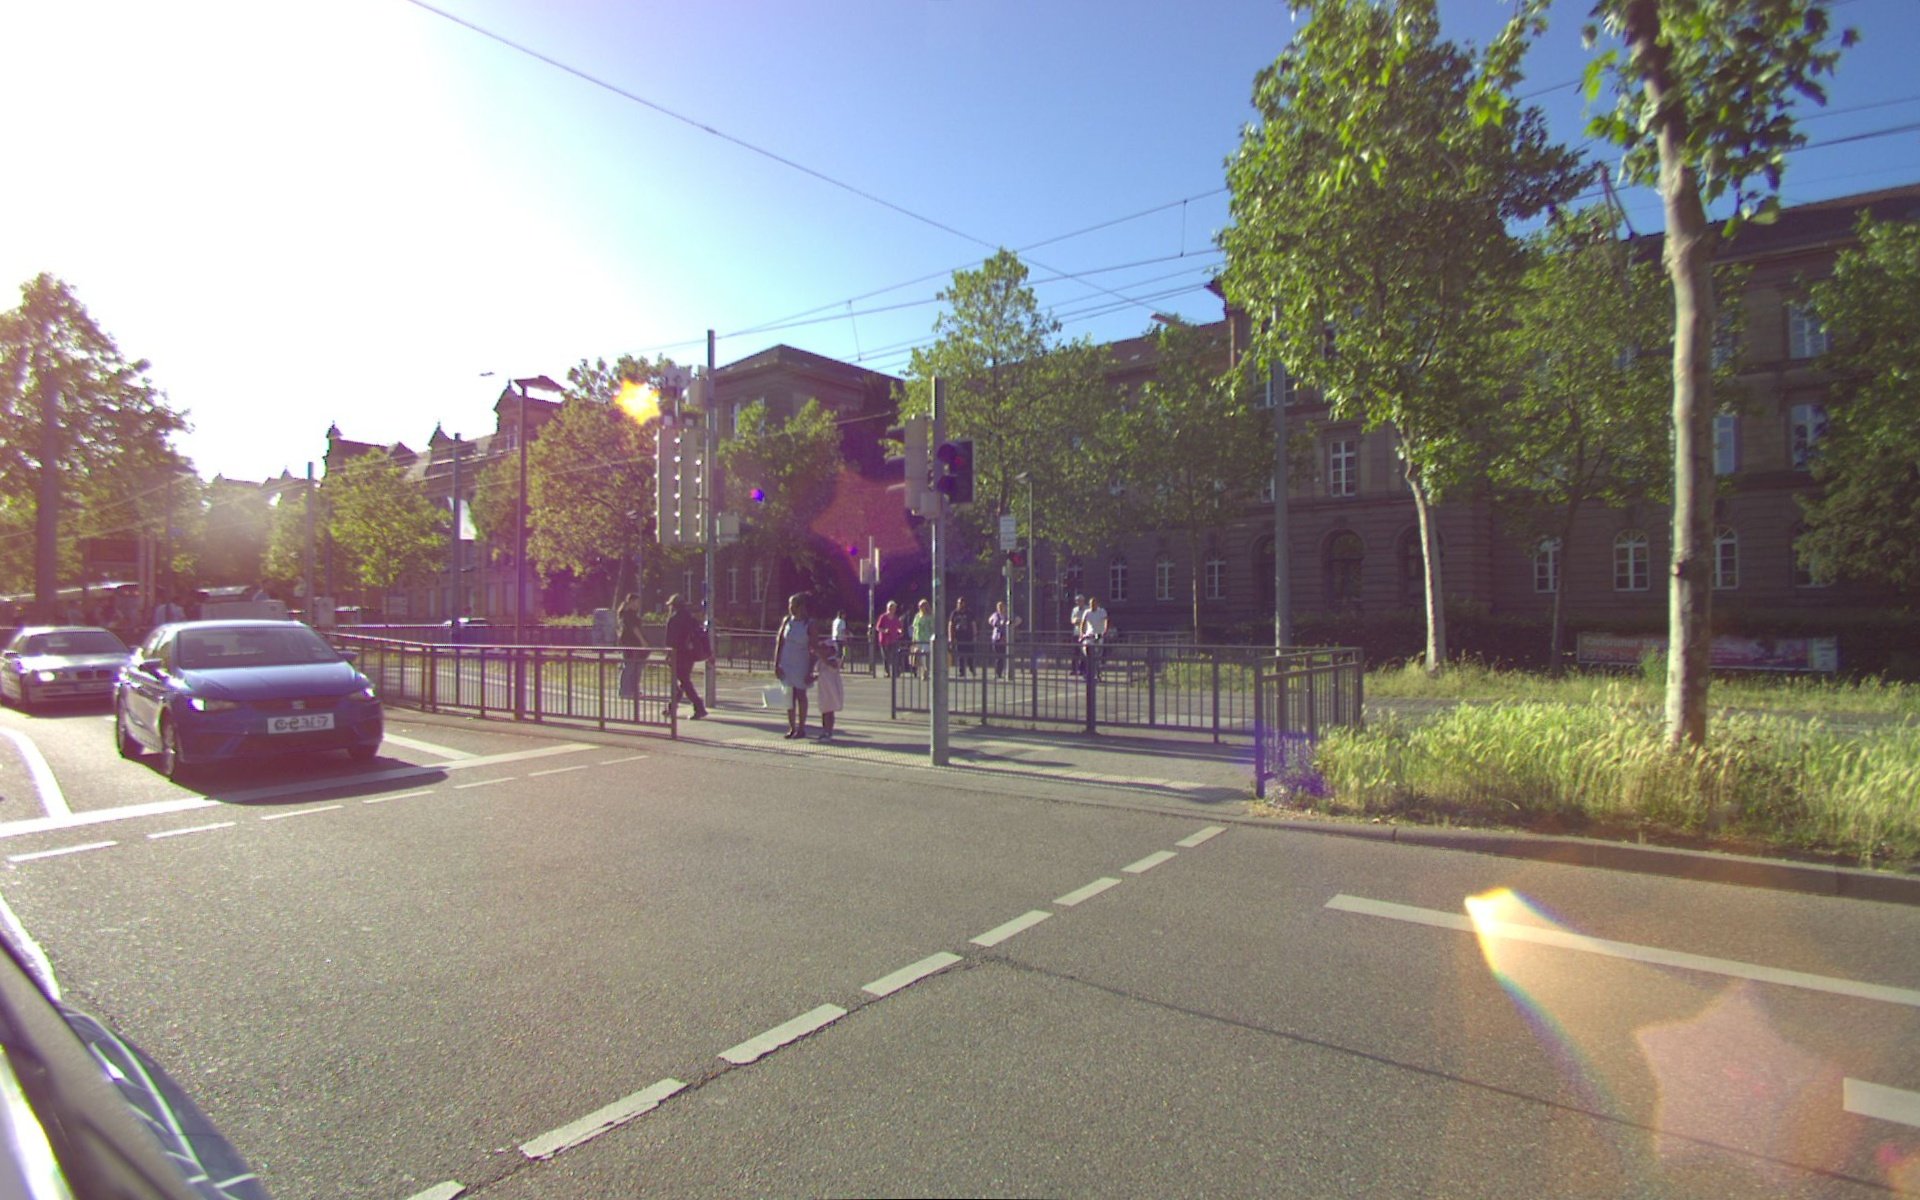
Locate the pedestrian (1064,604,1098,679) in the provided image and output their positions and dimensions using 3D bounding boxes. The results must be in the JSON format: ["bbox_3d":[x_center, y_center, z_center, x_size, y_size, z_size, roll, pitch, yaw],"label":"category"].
[{"bbox_3d":[2.688,0.915,22.519,0.691,1.633,0.593,-1,0,5],"label":"pedestrian"}]

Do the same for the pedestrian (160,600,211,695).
[{"bbox_3d":[-16.933,1.022,22.118,0.786,2.029,0.702,-1,0,39],"label":"pedestrian"}]

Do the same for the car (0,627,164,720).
[{"bbox_3d":[-16.131,1.235,18.320,3.994,1.439,1.777,-1,0,38],"label":"car"}]

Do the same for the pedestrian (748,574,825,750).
[{"bbox_3d":[-1.858,0.637,10.873,0.502,1.820,0.641,-1,0,28],"label":"pedestrian"}]

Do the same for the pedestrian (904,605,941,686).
[{"bbox_3d":[-0.797,0.959,21.526,0.691,1.689,0.593,-1,0,5],"label":"pedestrian"}]

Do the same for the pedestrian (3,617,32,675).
[{"bbox_3d":[-35.350,1.697,37.948,0.787,2.131,0.705,-1,0,42],"label":"pedestrian"}]

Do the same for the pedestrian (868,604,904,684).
[{"bbox_3d":[-1.650,0.972,22.706,0.691,1.758,0.593,-1,0,5],"label":"pedestrian"}]

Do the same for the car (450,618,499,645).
[{"bbox_3d":[-23.393,1.499,48.779,2.455,1.206,1.168,-1,0,38],"label":"car"}]

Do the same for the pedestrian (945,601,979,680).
[{"bbox_3d":[0.060,0.901,22.918,0.691,1.749,0.593,-1,0,5],"label":"pedestrian"}]

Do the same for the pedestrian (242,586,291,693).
[{"bbox_3d":[-14.670,0.813,21.425,0.774,2.204,0.802,-1,0,-32],"label":"pedestrian"}]

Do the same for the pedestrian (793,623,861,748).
[{"bbox_3d":[-1.391,0.877,10.604,0.423,1.242,0.588,-1,0,27],"label":"pedestrian"}]

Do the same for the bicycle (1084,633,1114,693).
[{"bbox_3d":[2.731,1.223,19.984,0.538,1.049,1.661,0,1,6],"label":"bicycle"}]

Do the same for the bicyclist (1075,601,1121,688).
[{"bbox_3d":[2.718,0.859,20.035,0.825,1.656,0.967,-1,0,5],"label":"bicyclist"}]

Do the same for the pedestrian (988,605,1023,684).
[{"bbox_3d":[0.968,0.934,21.670,0.690,1.656,0.594,-1,0,2],"label":"pedestrian"}]

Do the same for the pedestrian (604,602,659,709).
[{"bbox_3d":[-5.287,0.877,16.286,0.730,1.674,0.537,-1,0,42],"label":"pedestrian"}]

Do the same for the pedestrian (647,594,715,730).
[{"bbox_3d":[-3.553,0.763,12.879,0.572,1.674,0.667,-1,0,-44],"label":"pedestrian"}]

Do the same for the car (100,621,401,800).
[{"bbox_3d":[-7.462,0.981,10.497,3.868,1.459,1.754,-2,0,42],"label":"car"}]
